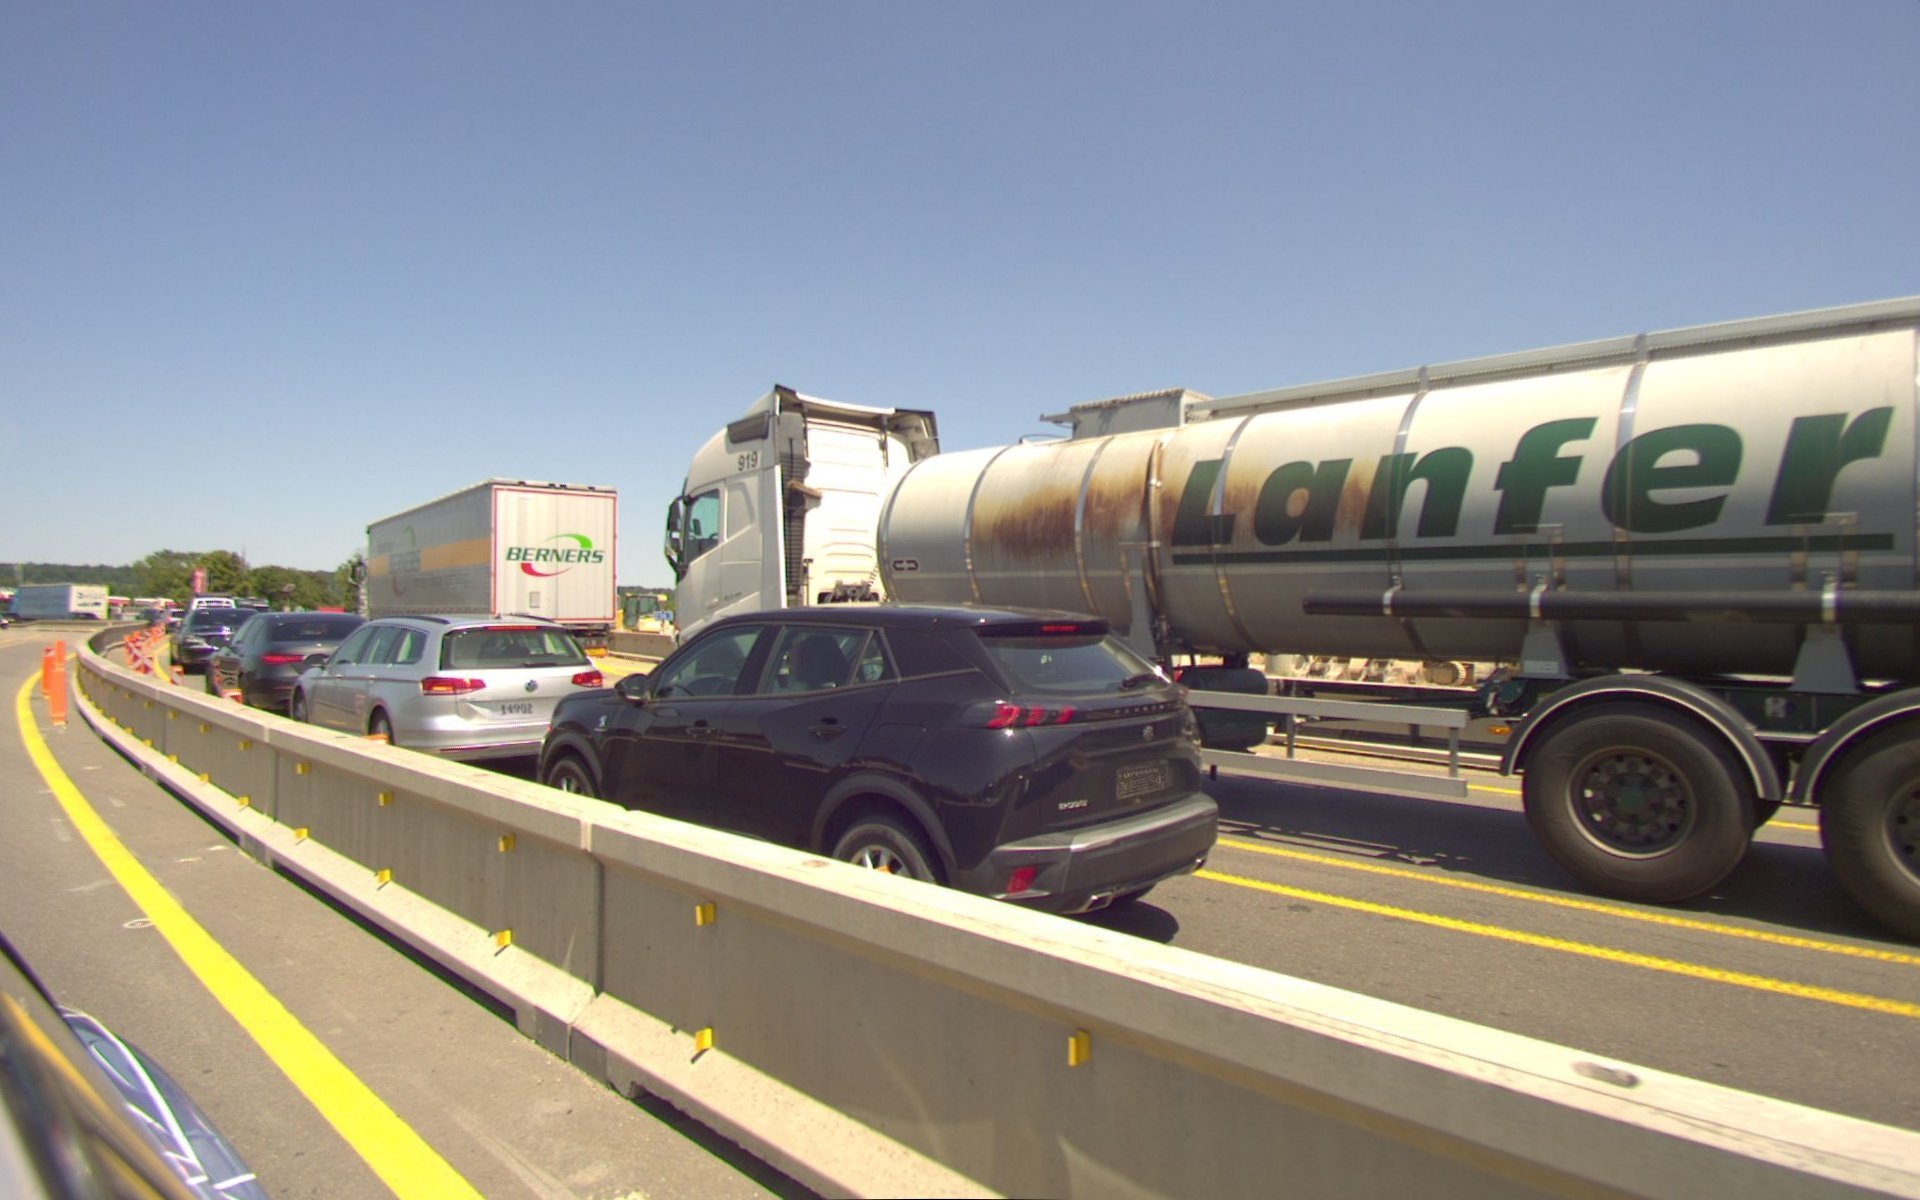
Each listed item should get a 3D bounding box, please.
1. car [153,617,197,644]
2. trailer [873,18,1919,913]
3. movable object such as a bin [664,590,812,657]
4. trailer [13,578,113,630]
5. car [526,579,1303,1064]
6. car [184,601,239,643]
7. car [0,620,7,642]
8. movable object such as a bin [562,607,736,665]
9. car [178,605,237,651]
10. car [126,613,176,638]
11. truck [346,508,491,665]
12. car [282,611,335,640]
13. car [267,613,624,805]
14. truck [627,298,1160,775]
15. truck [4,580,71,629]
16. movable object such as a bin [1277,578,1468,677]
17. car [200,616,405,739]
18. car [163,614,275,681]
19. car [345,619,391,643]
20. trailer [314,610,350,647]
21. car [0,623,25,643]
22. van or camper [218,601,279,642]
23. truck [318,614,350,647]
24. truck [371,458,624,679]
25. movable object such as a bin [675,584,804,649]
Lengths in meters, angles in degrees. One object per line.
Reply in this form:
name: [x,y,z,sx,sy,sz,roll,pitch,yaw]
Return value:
car: [-48.964,1.879,63.060,1.736,1.628,4.231,0,-2,-44]
trailer: [4.148,-0.554,6.523,11.246,4.008,2.674,-2,-3,44]
movable object such as a bin: [-10.044,1.008,45.934,5.965,2.784,2.820,-1,-1,-29]
trailer: [-78.713,0.472,88.661,13.874,4.160,2.891,-1,-4,33]
car: [-0.543,0.752,5.289,4.118,1.556,1.659,-1,-2,43]
car: [-36.405,1.064,49.169,1.848,1.887,5.068,6,-4,-38]
car: [-73.973,2.380,76.630,3.988,1.674,1.799,-2,-1,33]
movable object such as a bin: [-15.165,1.676,49.524,7.793,2.450,3.730,-1,0,-19]
car: [-27.921,1.005,37.515,1.491,1.616,3.959,0,0,-41]
car: [-60.979,1.924,76.226,4.702,1.778,1.759,-1,-4,37]
truck: [-16.702,-0.275,31.040,2.735,4.292,6.210,2,-2,-39]
car: [-35.990,1.390,55.846,1.968,1.513,4.663,1,-1,-39]
car: [-5.187,0.874,9.875,4.553,1.455,1.659,-1,-2,43]
truck: [-1.087,-0.451,11.620,6.202,4.000,2.669,-2,-3,45]
truck: [-83.976,0.491,92.085,6.120,4.160,2.891,-1,-4,33]
movable object such as a bin: [13.881,1.055,34.120,4.990,3.049,3.625,-4,-5,42]
car: [-9.314,0.975,14.198,1.636,1.464,4.251,1,-2,-44]
car: [-17.277,1.054,23.531,1.705,1.419,4.134,1,-2,-42]
car: [-36.923,1.928,63.050,1.782,1.404,4.663,5,-4,-38]
trailer: [-77.758,3.620,125.474,3.106,4.143,14.206,3,-4,-30]
car: [-81.972,2.776,86.674,4.700,1.620,1.752,-1,-4,36]
van or camper: [-47.705,1.442,67.810,6.306,2.561,2.075,-1,-4,44]
truck: [-80.934,4.009,130.972,3.106,4.016,6.366,3,-4,-30]
truck: [-11.973,-0.459,25.214,2.738,4.310,11.800,2,-2,-39]
movable object such as a bin: [-9.076,0.677,41.292,3.248,2.459,5.452,1,-1,-36]
